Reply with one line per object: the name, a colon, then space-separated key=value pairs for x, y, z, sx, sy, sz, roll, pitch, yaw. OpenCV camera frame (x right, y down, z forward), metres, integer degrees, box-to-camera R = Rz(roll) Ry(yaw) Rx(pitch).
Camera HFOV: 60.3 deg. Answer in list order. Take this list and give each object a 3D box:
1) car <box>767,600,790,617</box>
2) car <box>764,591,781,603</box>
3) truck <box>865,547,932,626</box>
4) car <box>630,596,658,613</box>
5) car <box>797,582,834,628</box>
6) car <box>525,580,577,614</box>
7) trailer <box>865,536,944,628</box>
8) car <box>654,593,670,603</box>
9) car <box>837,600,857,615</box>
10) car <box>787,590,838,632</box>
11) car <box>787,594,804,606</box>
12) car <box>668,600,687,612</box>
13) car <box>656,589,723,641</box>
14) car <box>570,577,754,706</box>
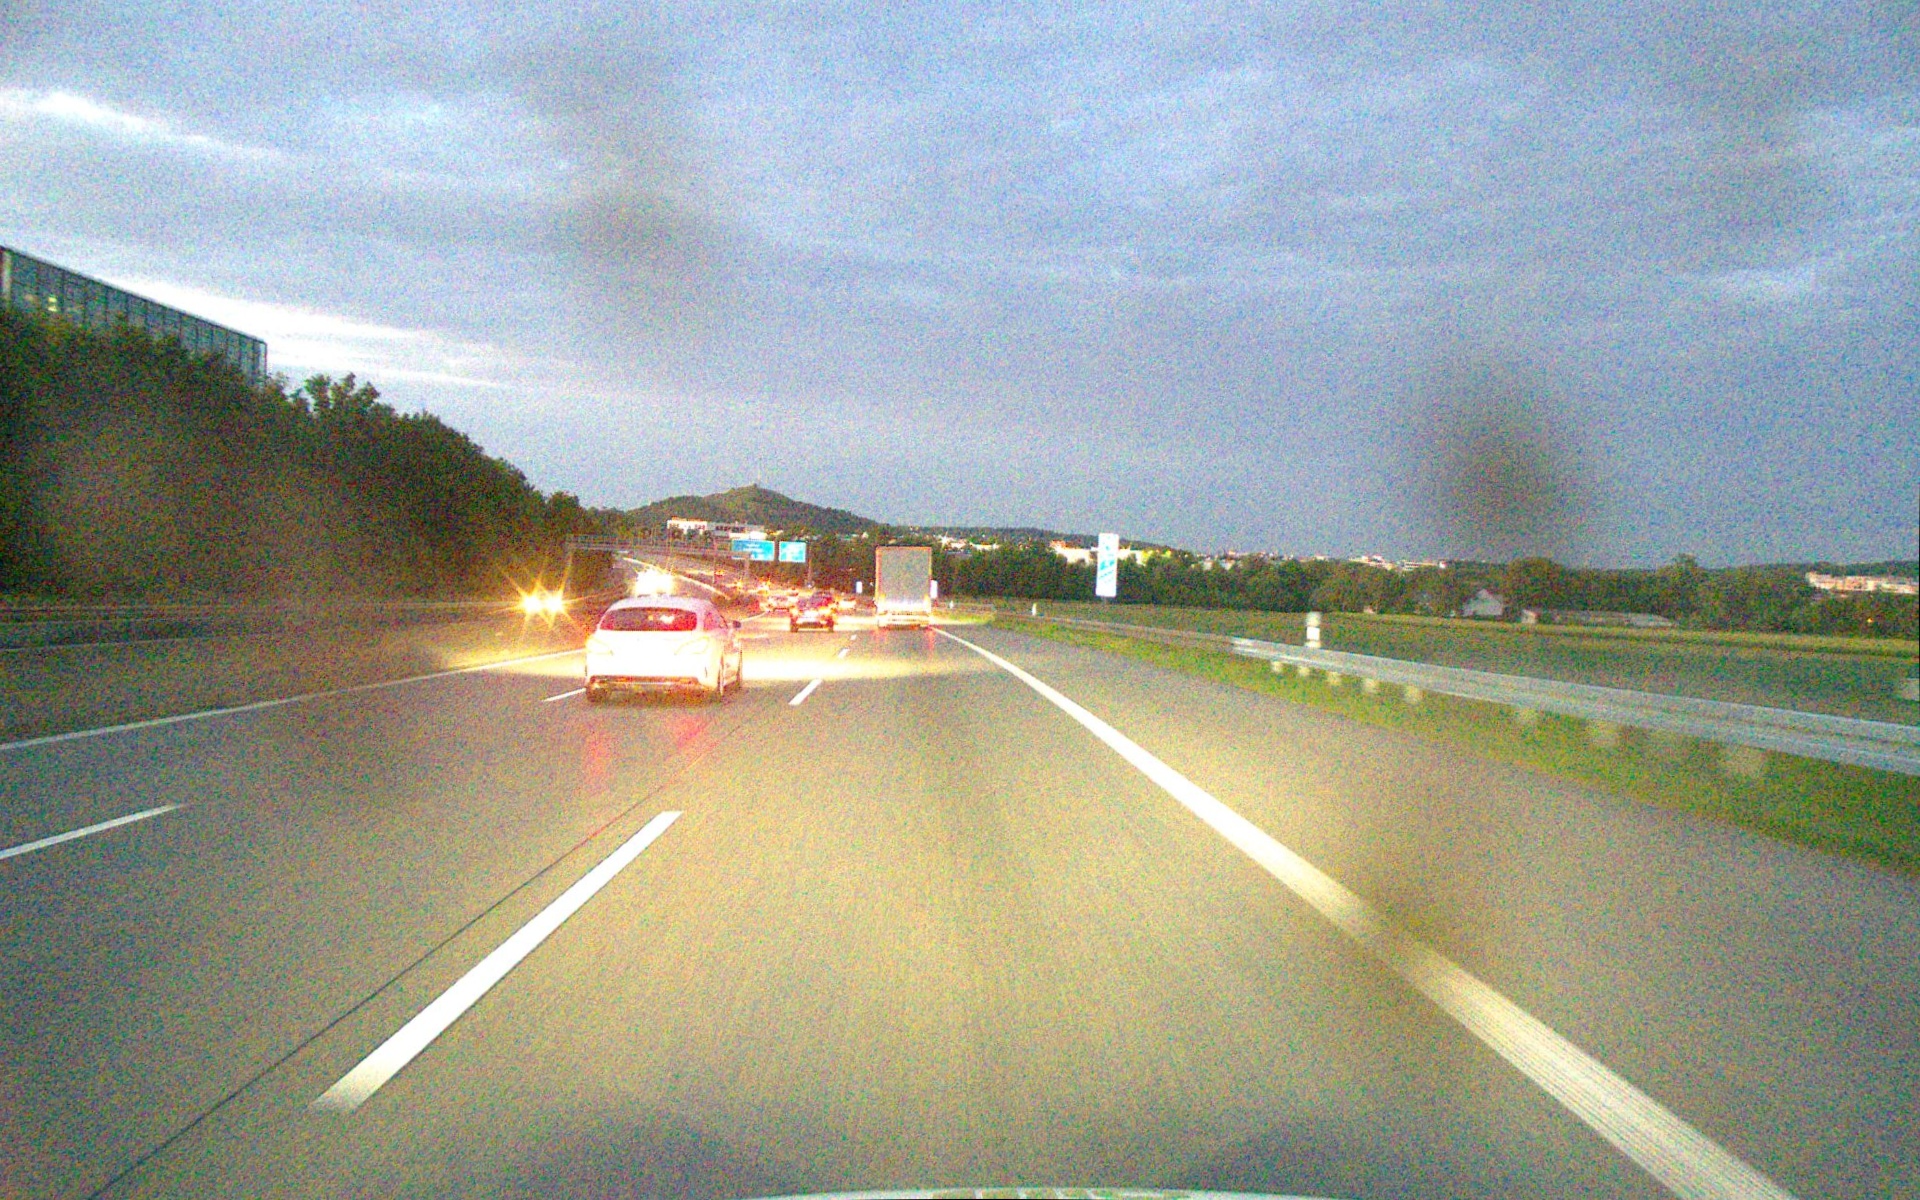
car: x=-17.918 y=0.804 z=163.133 sx=1.957 sy=1.650 sz=3.991 roll=1 pitch=0 yaw=-9
car: x=-24.192 y=-0.408 z=213.121 sx=1.957 sy=1.494 sz=3.990 roll=1 pitch=0 yaw=-10
truck: x=-3.429 y=-0.692 z=91.285 sx=3.480 sy=4.163 sz=6.146 roll=1 pitch=-1 yaw=-4
car: x=-27.675 y=0.394 z=145.009 sx=1.954 sy=1.478 sz=3.832 roll=1 pitch=0 yaw=-4
car: x=-8.012 y=0.273 z=91.637 sx=1.955 sy=2.422 sz=3.995 roll=1 pitch=0 yaw=-6
car: x=-23.322 y=-0.167 z=94.440 sx=1.954 sy=1.822 sz=4.837 roll=1 pitch=0 yaw=-3
trailer: x=-2.989 y=-0.766 z=83.675 sx=3.480 sy=4.188 sz=15.050 roll=1 pitch=-1 yaw=-4
car: x=-44.923 y=-0.301 z=249.661 sx=1.955 sy=1.561 sz=5.001 roll=1 pitch=0 yaw=-5
car: x=-12.086 y=0.777 z=175.983 sx=1.955 sy=1.561 sz=3.995 roll=1 pitch=0 yaw=-6
car: x=-6.255 y=0.452 z=70.554 sx=2.024 sy=1.715 sz=4.572 roll=1 pitch=0 yaw=-4
car: x=-23.948 y=0.028 z=241.077 sx=1.959 sy=1.650 sz=3.987 roll=1 pitch=0 yaw=-12
car: x=-32.130 y=0.665 z=188.183 sx=1.799 sy=1.359 sz=4.903 roll=1 pitch=0 yaw=-6
car: x=-8.914 y=0.482 z=54.752 sx=1.727 sy=1.602 sz=4.573 roll=1 pitch=0 yaw=-4
car: x=-4.166 y=0.549 z=23.863 sx=1.868 sy=1.642 sz=4.802 roll=1 pitch=0 yaw=-1
